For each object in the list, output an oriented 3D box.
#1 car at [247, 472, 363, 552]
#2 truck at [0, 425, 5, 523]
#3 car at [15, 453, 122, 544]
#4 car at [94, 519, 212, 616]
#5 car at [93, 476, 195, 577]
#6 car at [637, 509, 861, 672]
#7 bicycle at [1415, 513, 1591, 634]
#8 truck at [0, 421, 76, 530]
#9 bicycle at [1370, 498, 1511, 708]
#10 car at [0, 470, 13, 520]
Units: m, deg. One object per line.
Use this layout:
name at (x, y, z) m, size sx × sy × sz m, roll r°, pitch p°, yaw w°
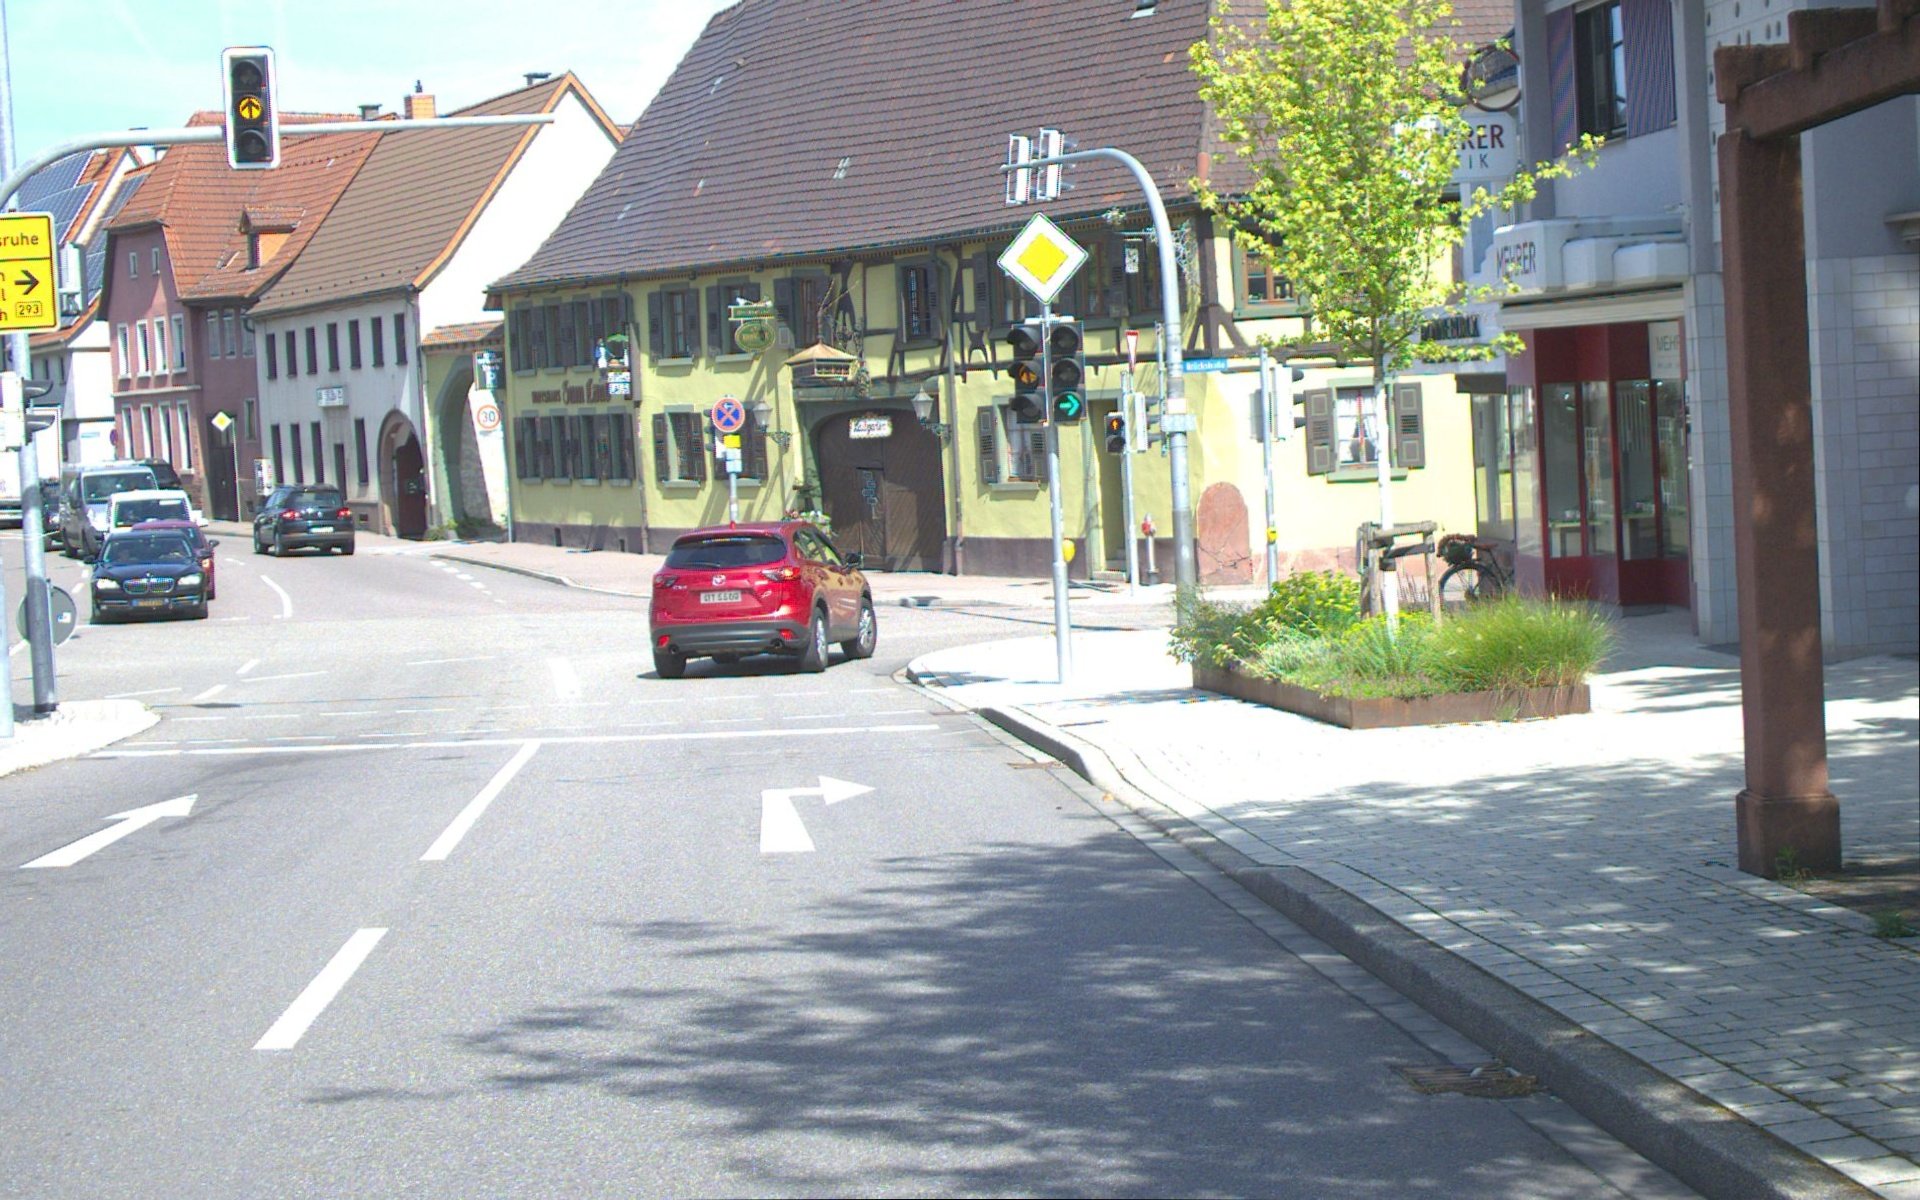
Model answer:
car at (-15.586, -2.115, 81.704) m, size 1.820 × 1.732 × 4.006 m, roll -4°, pitch 4°, yaw -23°
truck at (-37.438, -4.495, 124.506) m, size 3.159 × 3.448 × 10.714 m, roll -1°, pitch 2°, yaw -28°
car at (-22.456, -2.574, 86.511) m, size 1.757 × 2.238 × 4.554 m, roll -1°, pitch 2°, yaw -25°
car at (-13.688, -0.576, 58.375) m, size 1.820 × 1.429 × 4.250 m, roll -3°, pitch 3°, yaw -13°
car at (-17.147, -1.585, 72.116) m, size 1.820 × 1.899 × 4.966 m, roll -3°, pitch 4°, yaw -15°
car at (-2.300, -0.148, 38.461) m, size 1.805 × 1.657 × 3.811 m, roll -1°, pitch 2°, yaw 7°
bicycle at (6.051, -0.302, 38.359) m, size 1.803 × 1.230 × 0.550 m, roll -3°, pitch 2°, yaw -4°
truck at (-32.584, -4.206, 115.748) m, size 3.223 × 3.537 × 9.232 m, roll -2°, pitch 3°, yaw -29°
bicycle at (3.184, -0.010, 22.932) m, size 0.529 × 1.275 × 1.992 m, roll -6°, pitch 2°, yaw 0°
car at (-31.106, -3.224, 107.466) m, size 1.786 × 1.521 × 4.005 m, roll -5°, pitch 4°, yaw -31°
